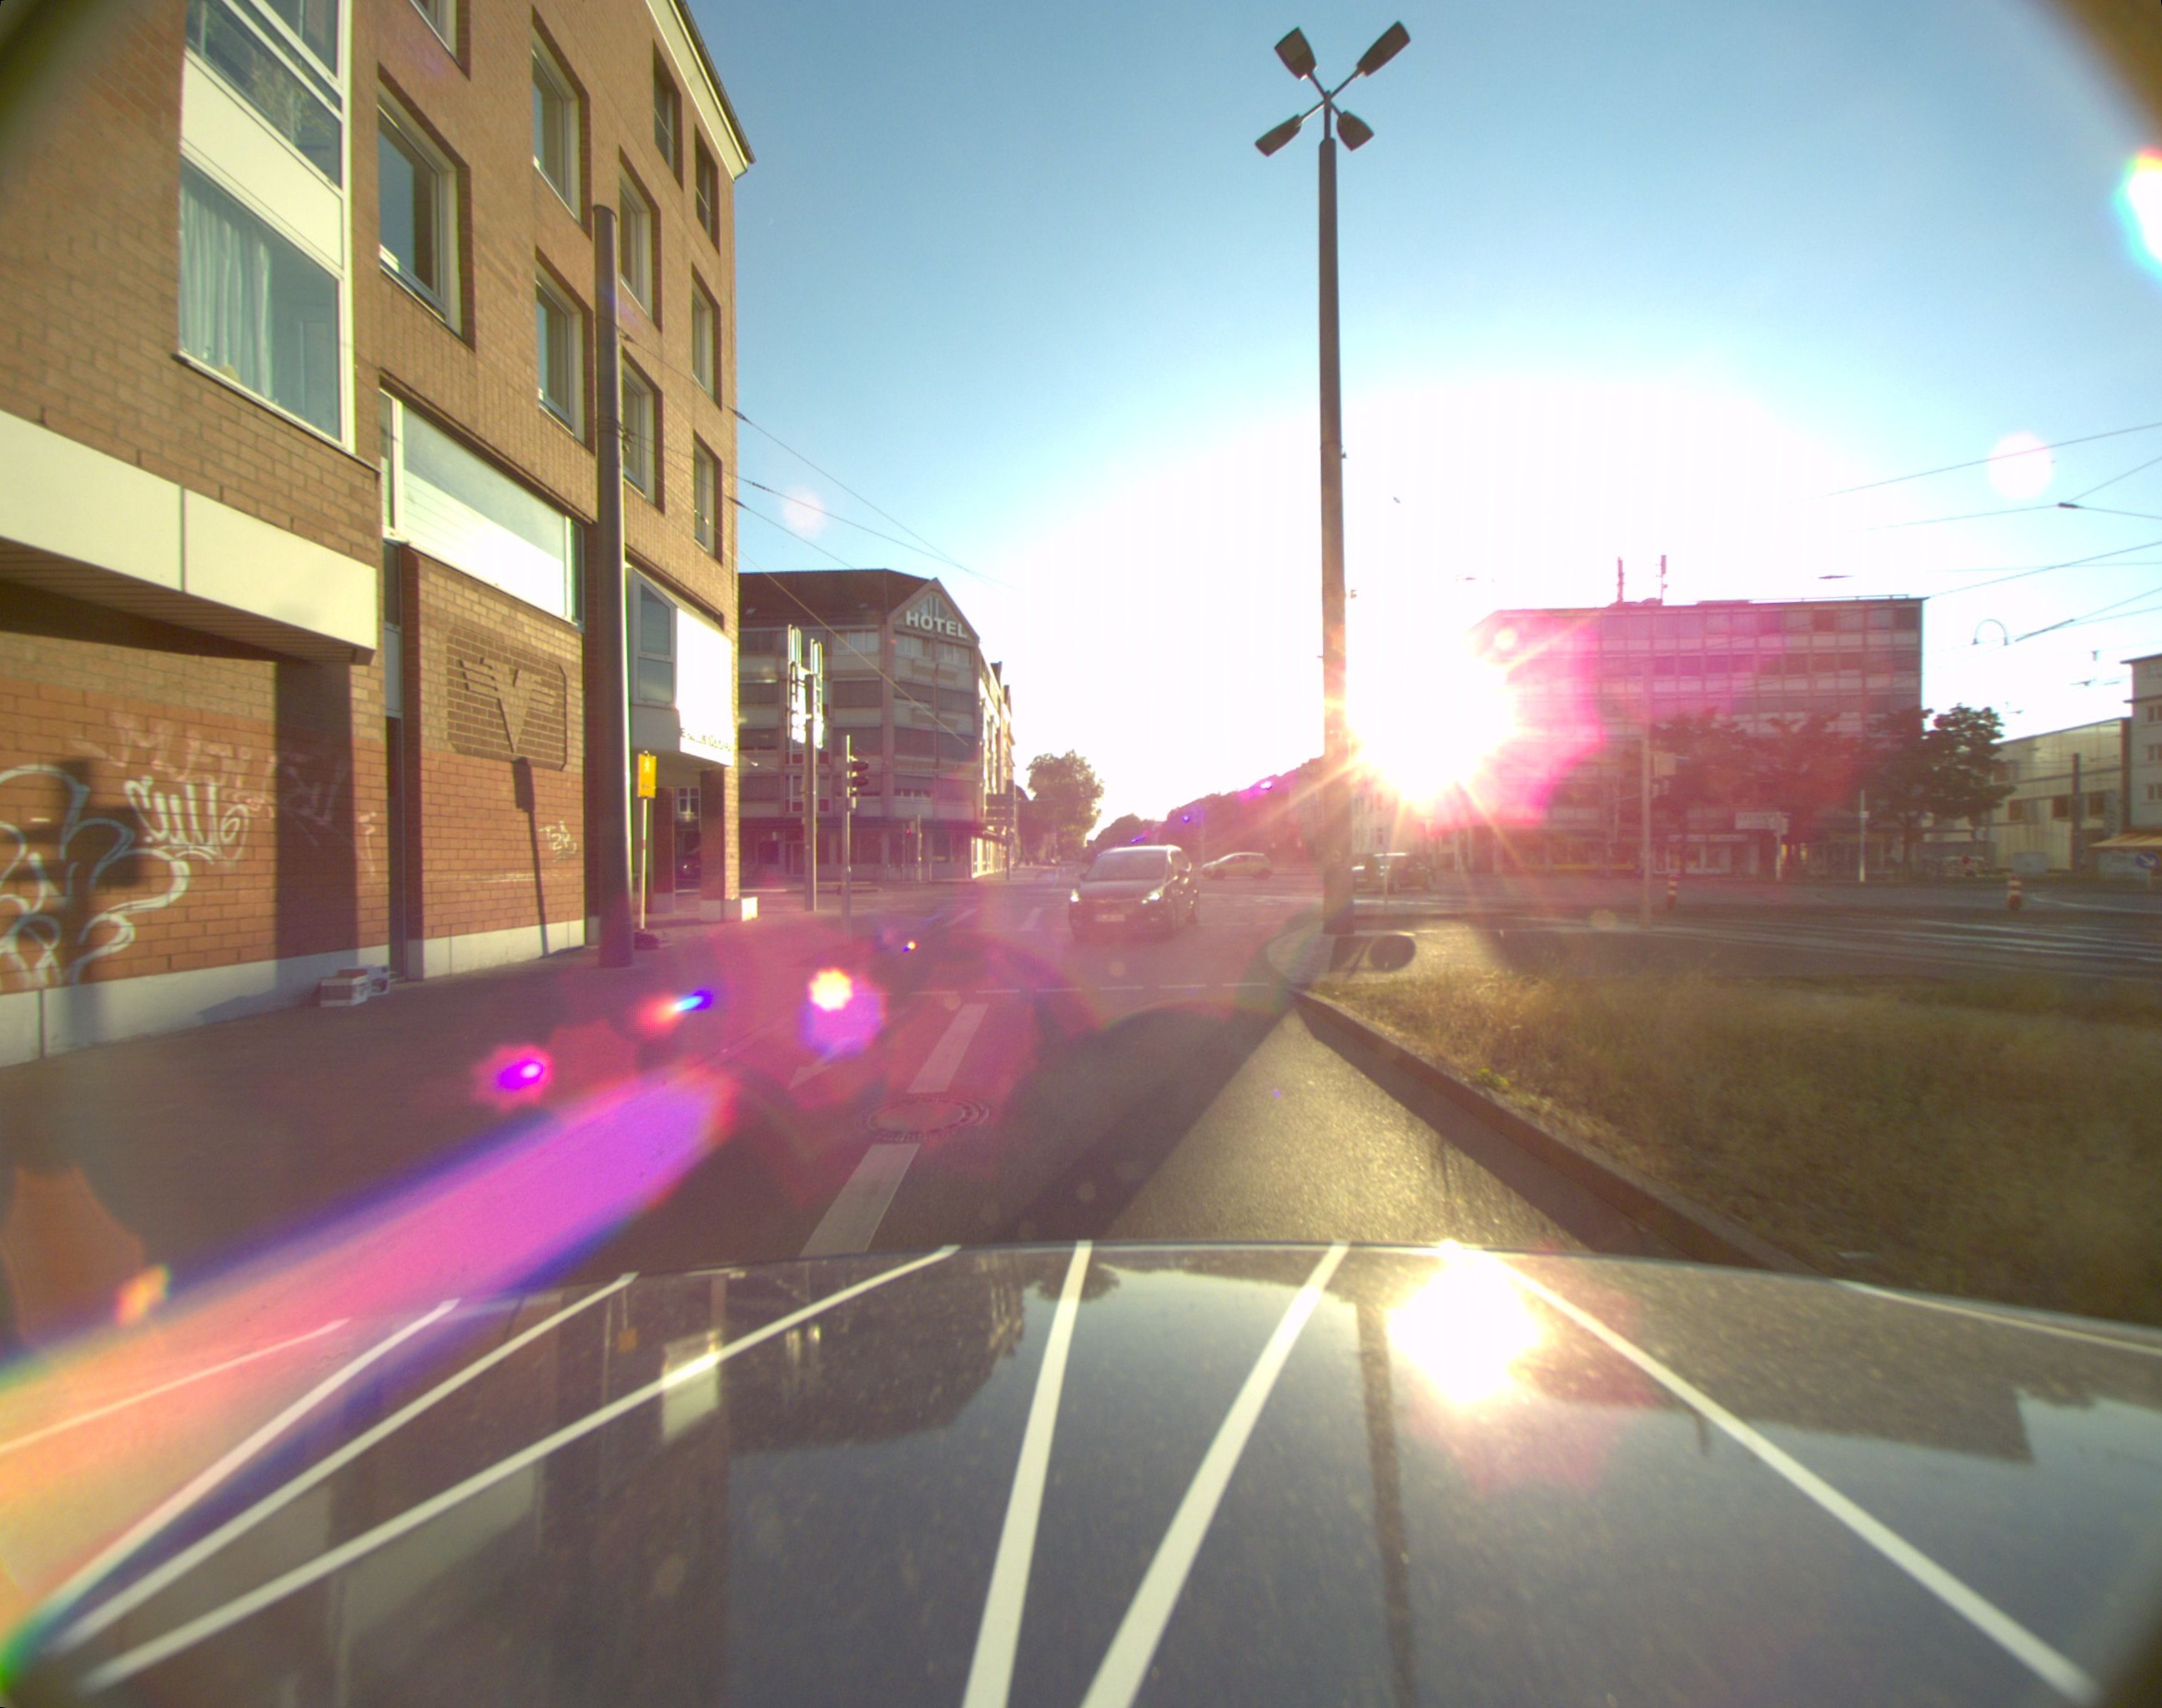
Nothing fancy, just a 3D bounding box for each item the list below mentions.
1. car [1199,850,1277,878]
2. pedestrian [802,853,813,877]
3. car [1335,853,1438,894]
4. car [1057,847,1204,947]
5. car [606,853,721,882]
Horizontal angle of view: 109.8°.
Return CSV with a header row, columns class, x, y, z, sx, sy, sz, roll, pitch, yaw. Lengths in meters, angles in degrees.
class,x,y,z,sx,sy,sz,roll,pitch,yaw
car,8.833,0.544,42.939,4.022,1.557,1.748,0,0,-5
pedestrian,-17.091,0.668,47.526,0.471,1.484,0.478,0,1,37
car,11.276,0.669,27.874,4.234,1.399,1.847,0,0,-42
car,1.127,0.689,14.520,1.798,1.609,4.393,0,0,18
car,-23.754,0.729,43.300,5.571,1.618,2.032,0,0,6
